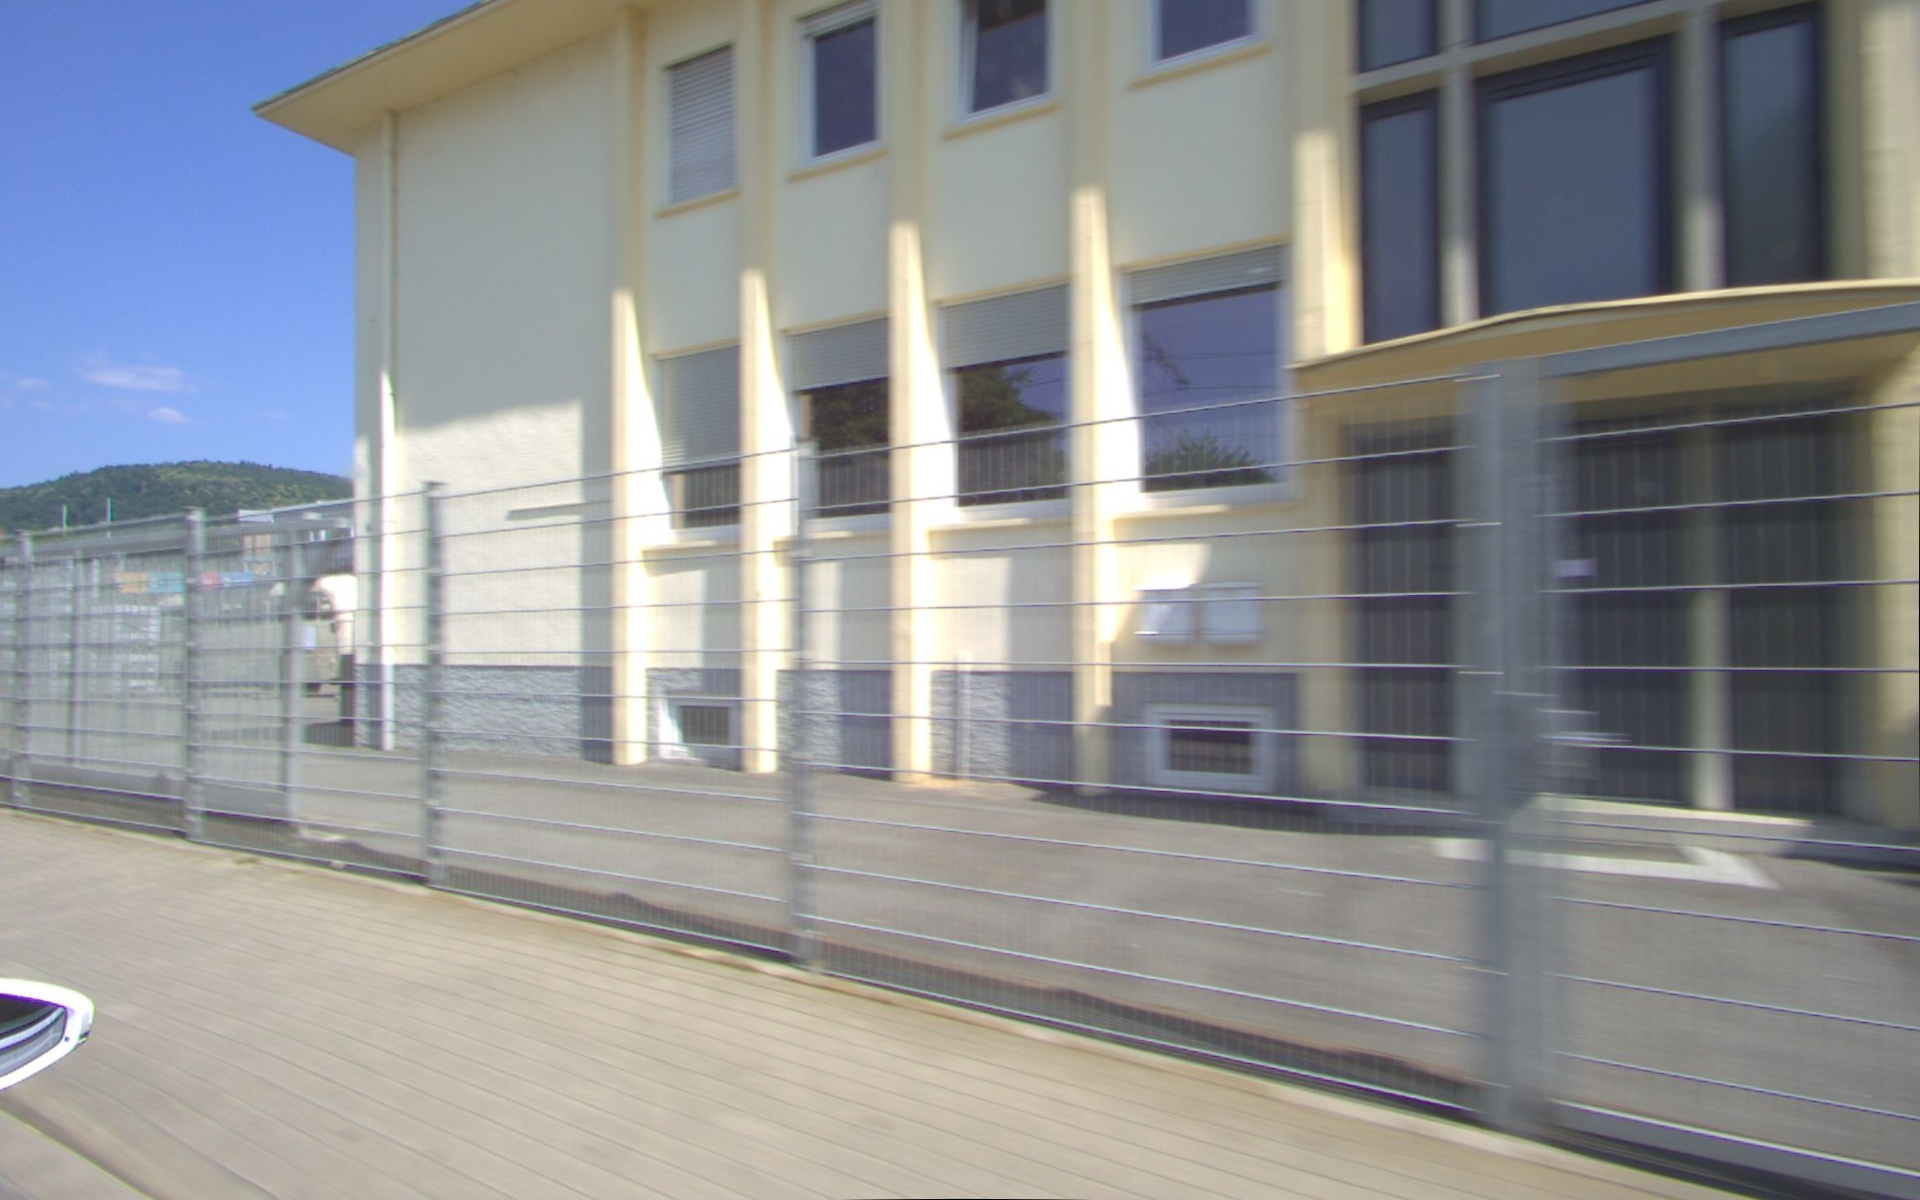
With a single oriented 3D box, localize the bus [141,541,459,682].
[{"bbox_3d":[-17.543,0.473,26.286,10.114,3.211,2.563,-2,-2,29],"label":"bus"}]
